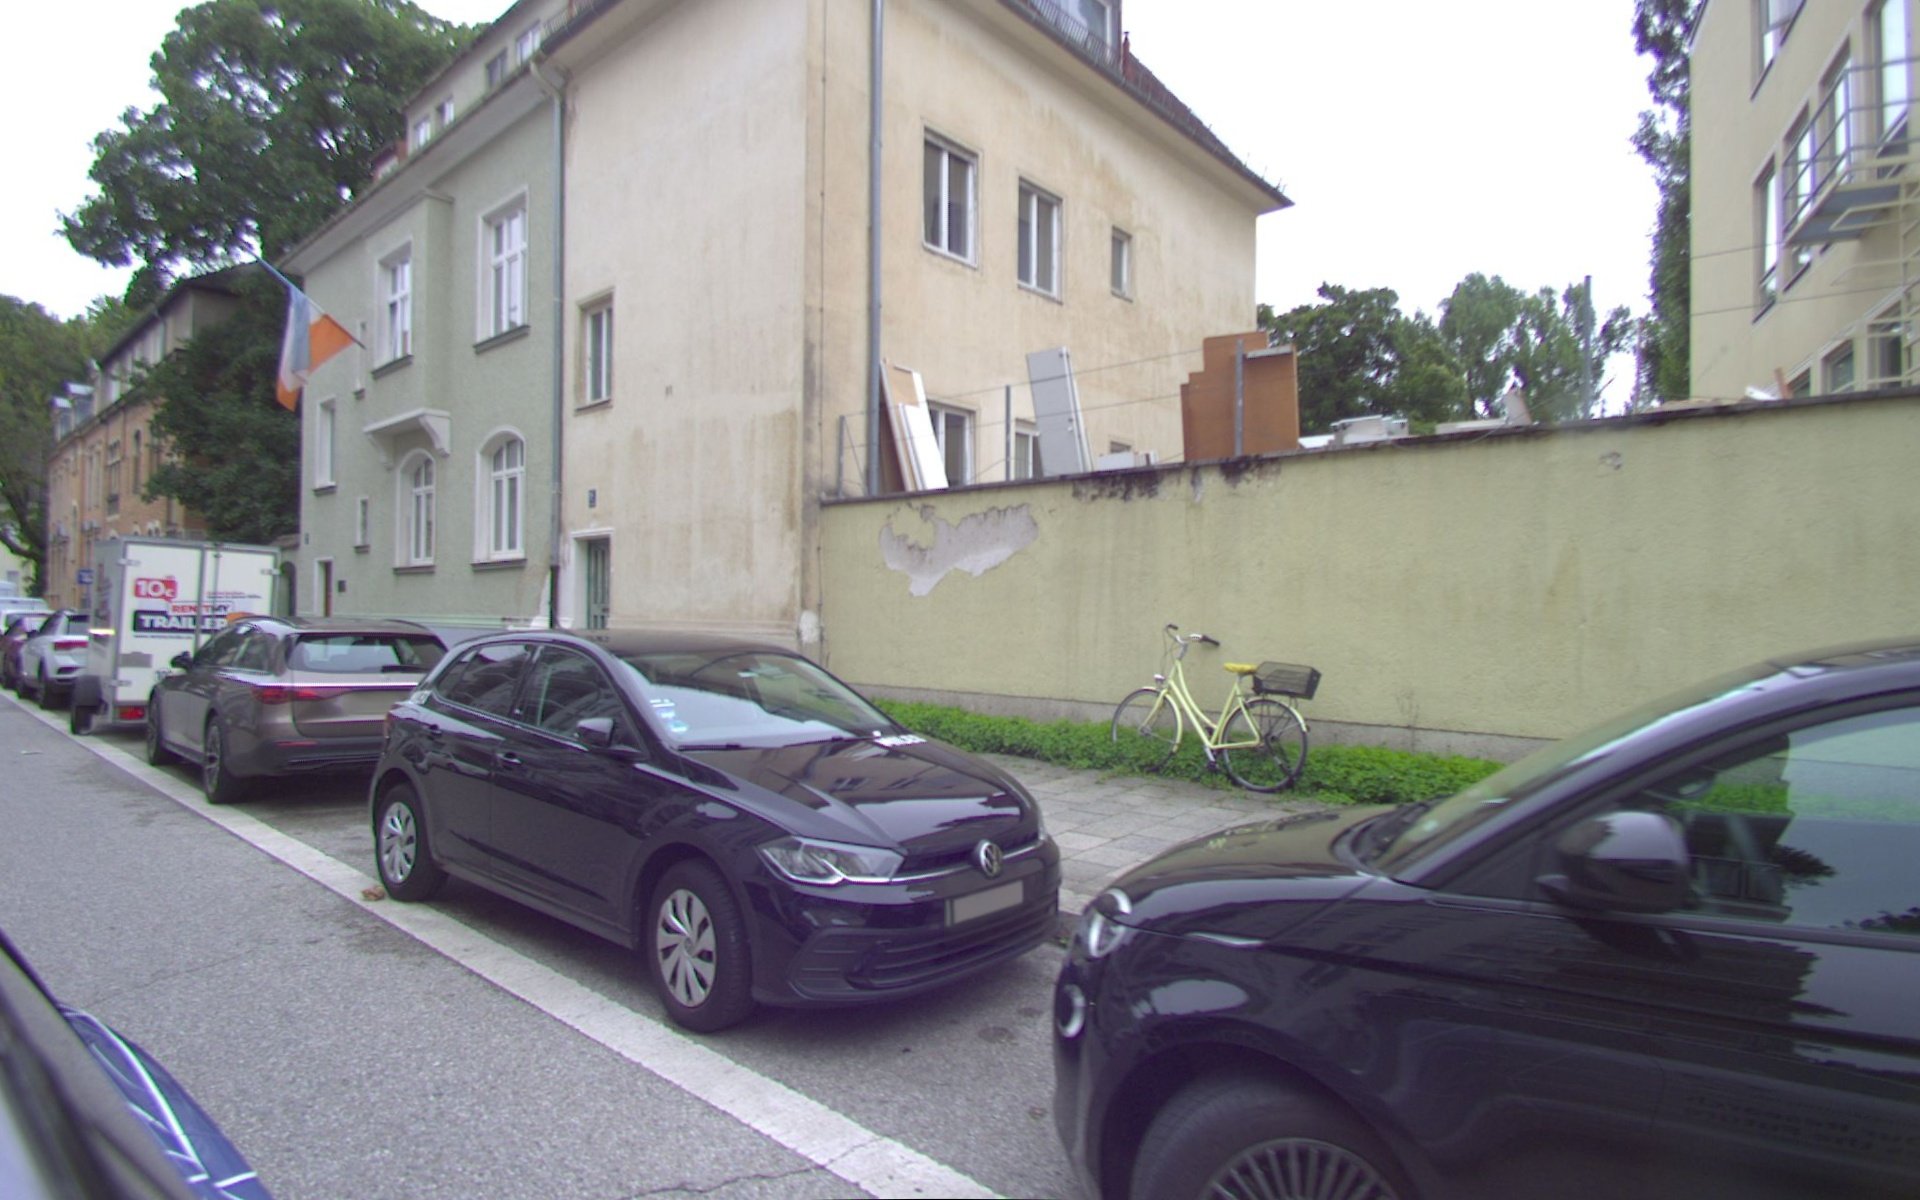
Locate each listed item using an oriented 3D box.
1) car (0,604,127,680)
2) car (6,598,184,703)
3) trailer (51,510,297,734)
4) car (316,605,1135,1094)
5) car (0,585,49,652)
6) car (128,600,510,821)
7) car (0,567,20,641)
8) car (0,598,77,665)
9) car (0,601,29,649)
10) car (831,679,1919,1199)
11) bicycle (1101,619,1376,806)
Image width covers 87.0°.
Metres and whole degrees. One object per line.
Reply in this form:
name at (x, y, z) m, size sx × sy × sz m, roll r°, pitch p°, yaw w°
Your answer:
car at (-18.453, 0.828, 20.502) m, size 4.400 × 1.378 × 1.727 m, roll -2°, pitch -3°, yaw 41°
car at (-14.495, 0.808, 16.892) m, size 4.105 × 1.542 × 1.661 m, roll -2°, pitch -3°, yaw 41°
trailer at (-10.668, 0.325, 13.603) m, size 1.953 × 2.490 × 4.579 m, roll 4°, pitch -4°, yaw -45°
car at (-1.428, 0.810, 5.019) m, size 4.281 × 1.447 × 1.659 m, roll -1°, pitch -3°, yaw 39°
car at (-27.104, 0.543, 28.447) m, size 4.248 × 1.769 × 1.697 m, roll -2°, pitch -3°, yaw 41°
car at (-6.247, 0.859, 9.547) m, size 5.092 × 1.553 × 1.843 m, roll -2°, pitch -3°, yaw 44°
car at (-34.738, 0.194, 35.434) m, size 5.229 × 2.495 × 2.089 m, roll -2°, pitch -3°, yaw 41°
car at (-22.394, 0.754, 24.066) m, size 3.519 × 1.479 × 1.609 m, roll -2°, pitch -3°, yaw 41°
car at (-30.657, 0.794, 31.736) m, size 4.164 × 1.431 × 1.697 m, roll -2°, pitch -3°, yaw 41°
car at (1.712, 0.986, 1.966) m, size 3.903 × 1.508 × 1.637 m, roll -1°, pitch -3°, yaw 38°
bicycle at (2.081, 0.773, 7.709) m, size 1.867 × 1.243 × 0.794 m, roll -1°, pitch -1°, yaw 41°
